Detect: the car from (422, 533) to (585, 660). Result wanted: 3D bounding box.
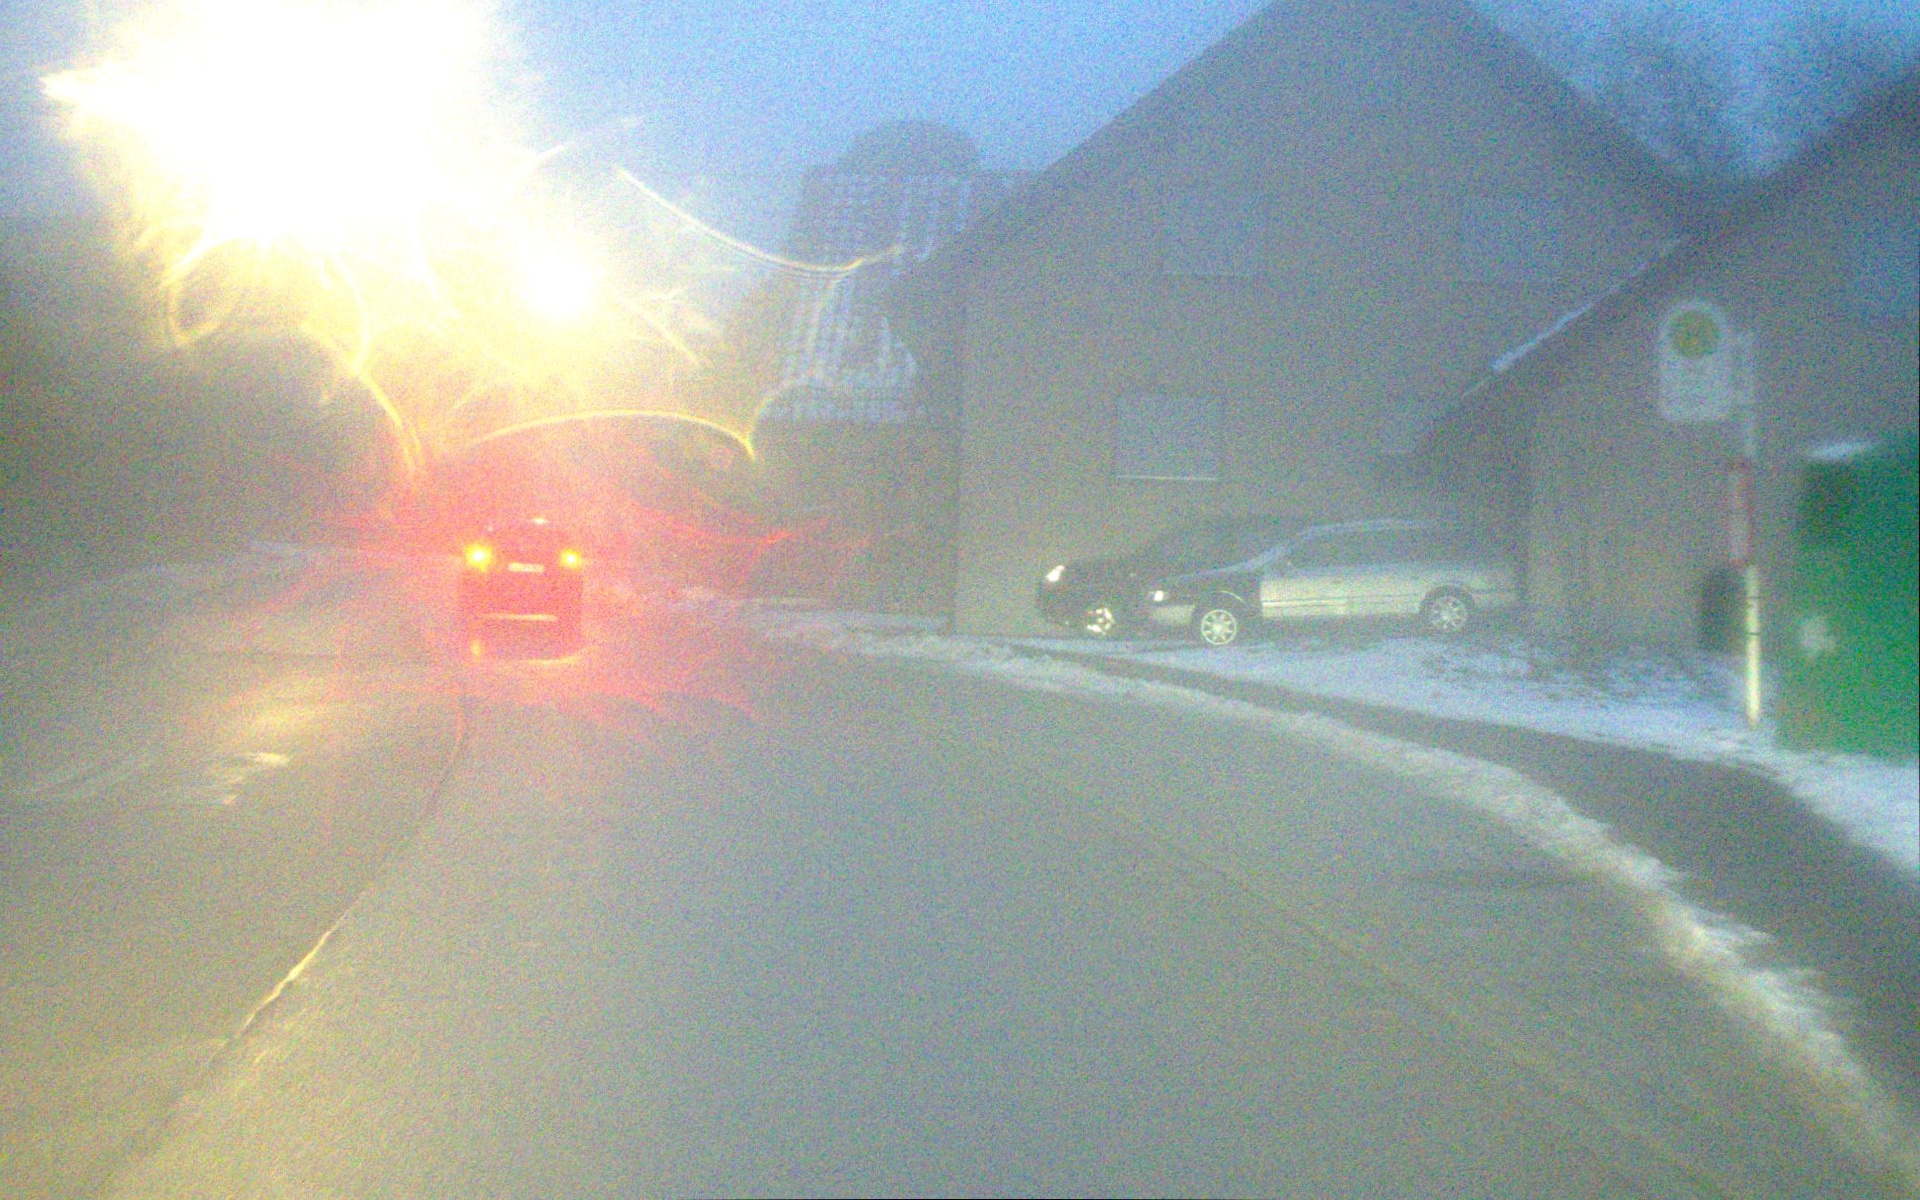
[{"bbox_3d":[-6.678,-0.006,50.034,1.993,1.731,3.879,0,-2,-13],"label":"car"}]

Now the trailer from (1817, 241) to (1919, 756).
[{"bbox_3d":[8.091,-0.666,23.229,2.874,3.548,5.063,2,0,-5],"label":"trailer"}]

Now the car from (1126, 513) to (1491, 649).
[{"bbox_3d":[4.149,-0.209,41.196,4.243,1.554,1.999,0,-2,5],"label":"car"}]

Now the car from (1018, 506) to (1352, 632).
[{"bbox_3d":[2.846,-0.382,44.234,4.158,1.554,1.946,0,-2,0],"label":"car"}]
